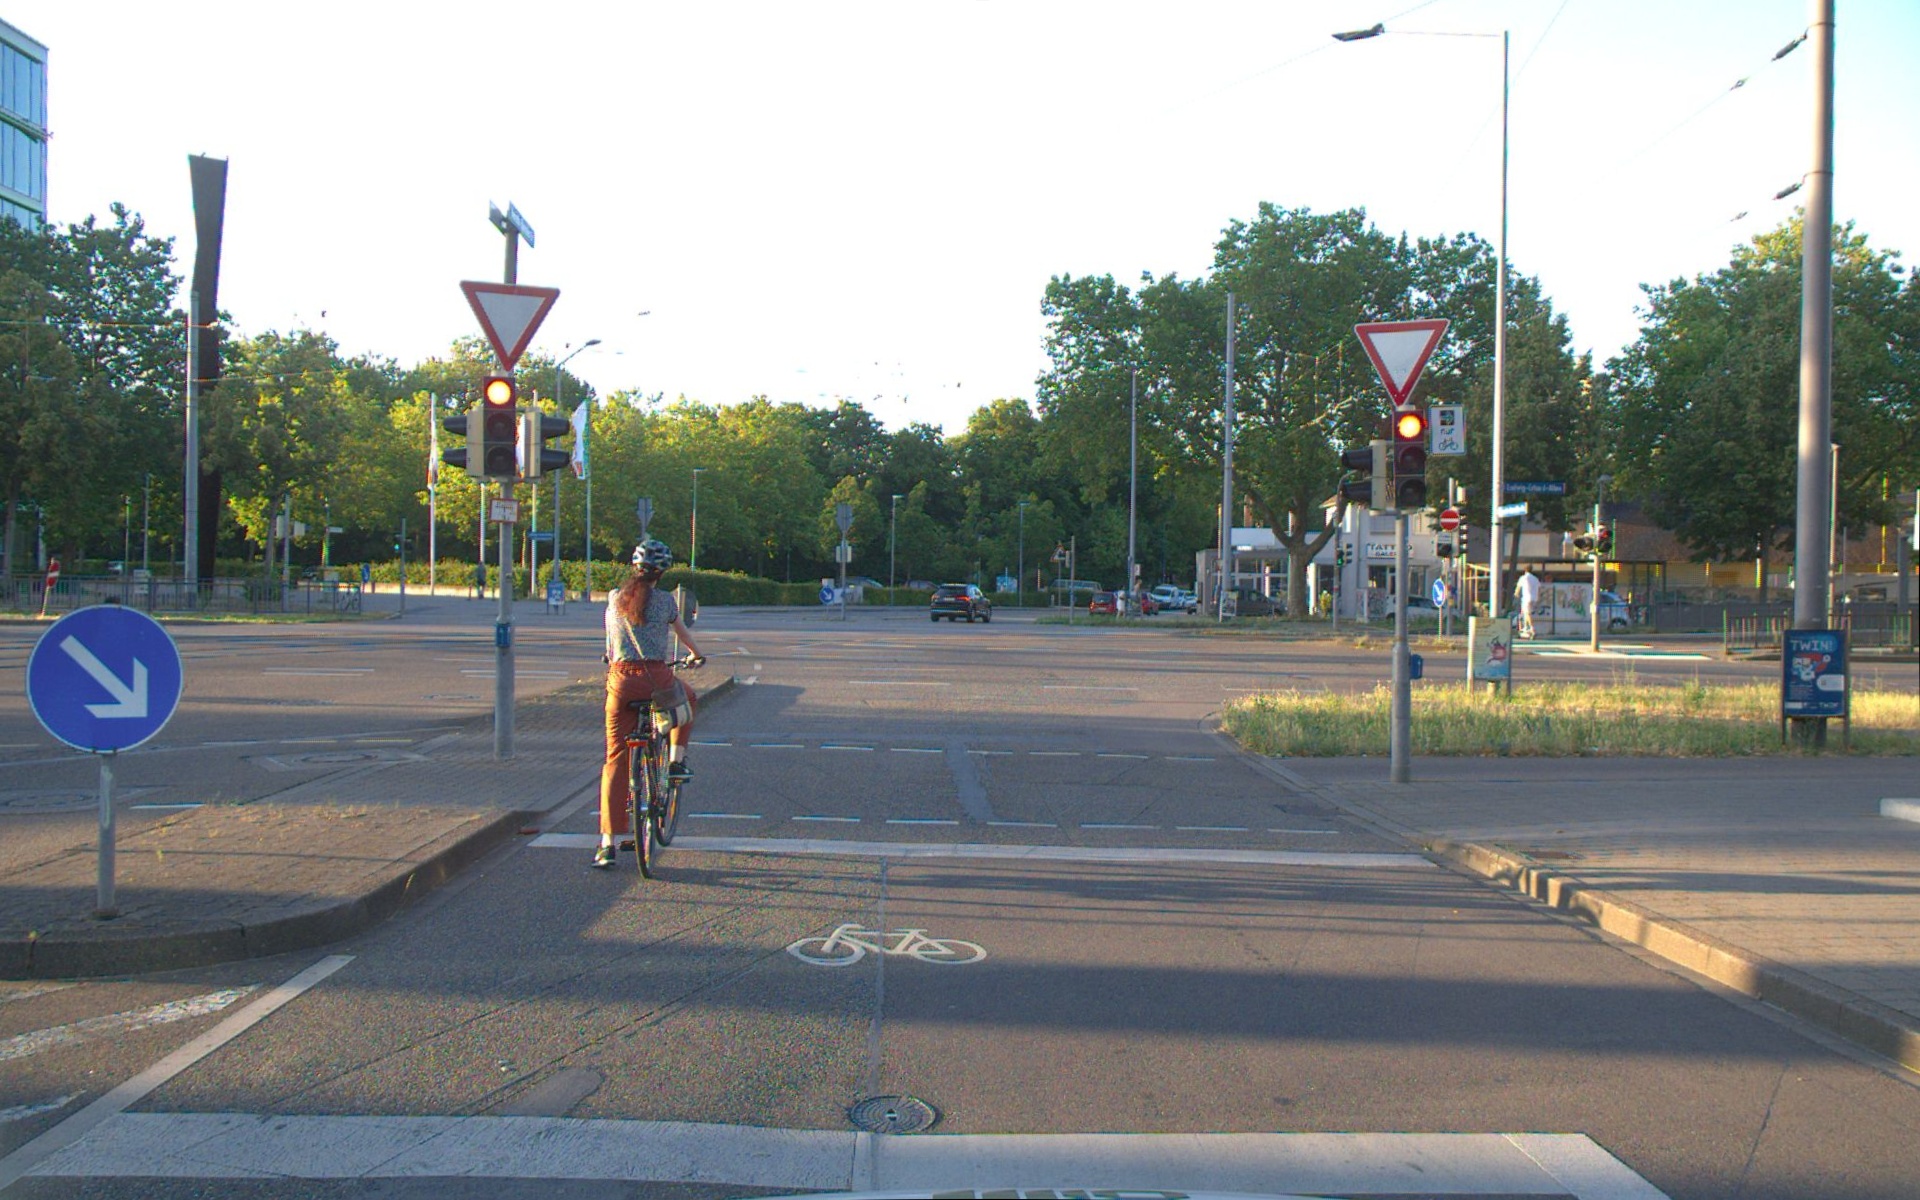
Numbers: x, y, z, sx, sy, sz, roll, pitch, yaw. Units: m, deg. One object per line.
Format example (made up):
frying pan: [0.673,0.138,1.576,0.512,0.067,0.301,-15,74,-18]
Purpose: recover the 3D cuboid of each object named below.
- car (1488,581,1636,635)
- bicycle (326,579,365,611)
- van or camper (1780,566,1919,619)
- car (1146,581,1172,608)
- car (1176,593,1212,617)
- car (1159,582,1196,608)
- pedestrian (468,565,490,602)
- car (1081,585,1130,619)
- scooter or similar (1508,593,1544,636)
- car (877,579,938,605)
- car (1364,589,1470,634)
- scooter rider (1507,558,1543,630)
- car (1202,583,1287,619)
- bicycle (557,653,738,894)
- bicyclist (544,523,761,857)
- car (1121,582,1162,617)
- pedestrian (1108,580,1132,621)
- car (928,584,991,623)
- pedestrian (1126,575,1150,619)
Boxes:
car: [20.808,0.259,57.232,4.445,1.758,1.860,1,0,-5]
bicycle: [-23.137,-0.189,62.305,0.685,1.156,2.391,1,1,-3]
van or camper: [43.651,-0.380,80.361,6.426,2.452,2.265,1,0,3]
car: [15.812,-0.454,131.416,1.951,2.049,4.003,1,1,6]
car: [16.370,0.339,115.679,1.875,1.630,4.002,1,1,17]
car: [17.882,-0.399,136.033,1.953,2.049,3.998,1,1,24]
pedestrian: [-23.020,-0.795,79.217,0.884,1.785,0.715,1,0,-26]
car: [8.445,0.093,95.823,1.829,1.907,3.875,1,1,20]
scooter or similar: [14.963,0.372,43.749,0.499,1.109,1.243,1,0,-1]
car: [-3.423,-0.538,109.199,3.905,1.588,2.000,1,0,1]
car: [20.082,0.494,72.797,4.142,1.878,2.001,1,0,2]
scooter rider: [14.960,-0.164,43.801,0.688,1.887,0.669,1,-1,-1]
car: [15.315,0.032,89.191,4.285,1.867,1.950,1,1,4]
bicycle: [-1.684,0.890,9.213,0.621,1.086,2.122,1,1,-1]
bicyclist: [-1.682,0.470,9.227,1.011,1.748,0.996,1,0,-1]
car: [11.372,-0.040,103.482,1.875,2.083,4.002,1,1,17]
pedestrian: [6.588,0.024,68.173,0.704,1.667,0.897,1,0,23]
car: [0.012,0.164,69.797,1.718,1.568,4.404,1,-1,12]
pedestrian: [7.280,-0.110,67.696,0.704,1.785,0.897,1,0,23]
